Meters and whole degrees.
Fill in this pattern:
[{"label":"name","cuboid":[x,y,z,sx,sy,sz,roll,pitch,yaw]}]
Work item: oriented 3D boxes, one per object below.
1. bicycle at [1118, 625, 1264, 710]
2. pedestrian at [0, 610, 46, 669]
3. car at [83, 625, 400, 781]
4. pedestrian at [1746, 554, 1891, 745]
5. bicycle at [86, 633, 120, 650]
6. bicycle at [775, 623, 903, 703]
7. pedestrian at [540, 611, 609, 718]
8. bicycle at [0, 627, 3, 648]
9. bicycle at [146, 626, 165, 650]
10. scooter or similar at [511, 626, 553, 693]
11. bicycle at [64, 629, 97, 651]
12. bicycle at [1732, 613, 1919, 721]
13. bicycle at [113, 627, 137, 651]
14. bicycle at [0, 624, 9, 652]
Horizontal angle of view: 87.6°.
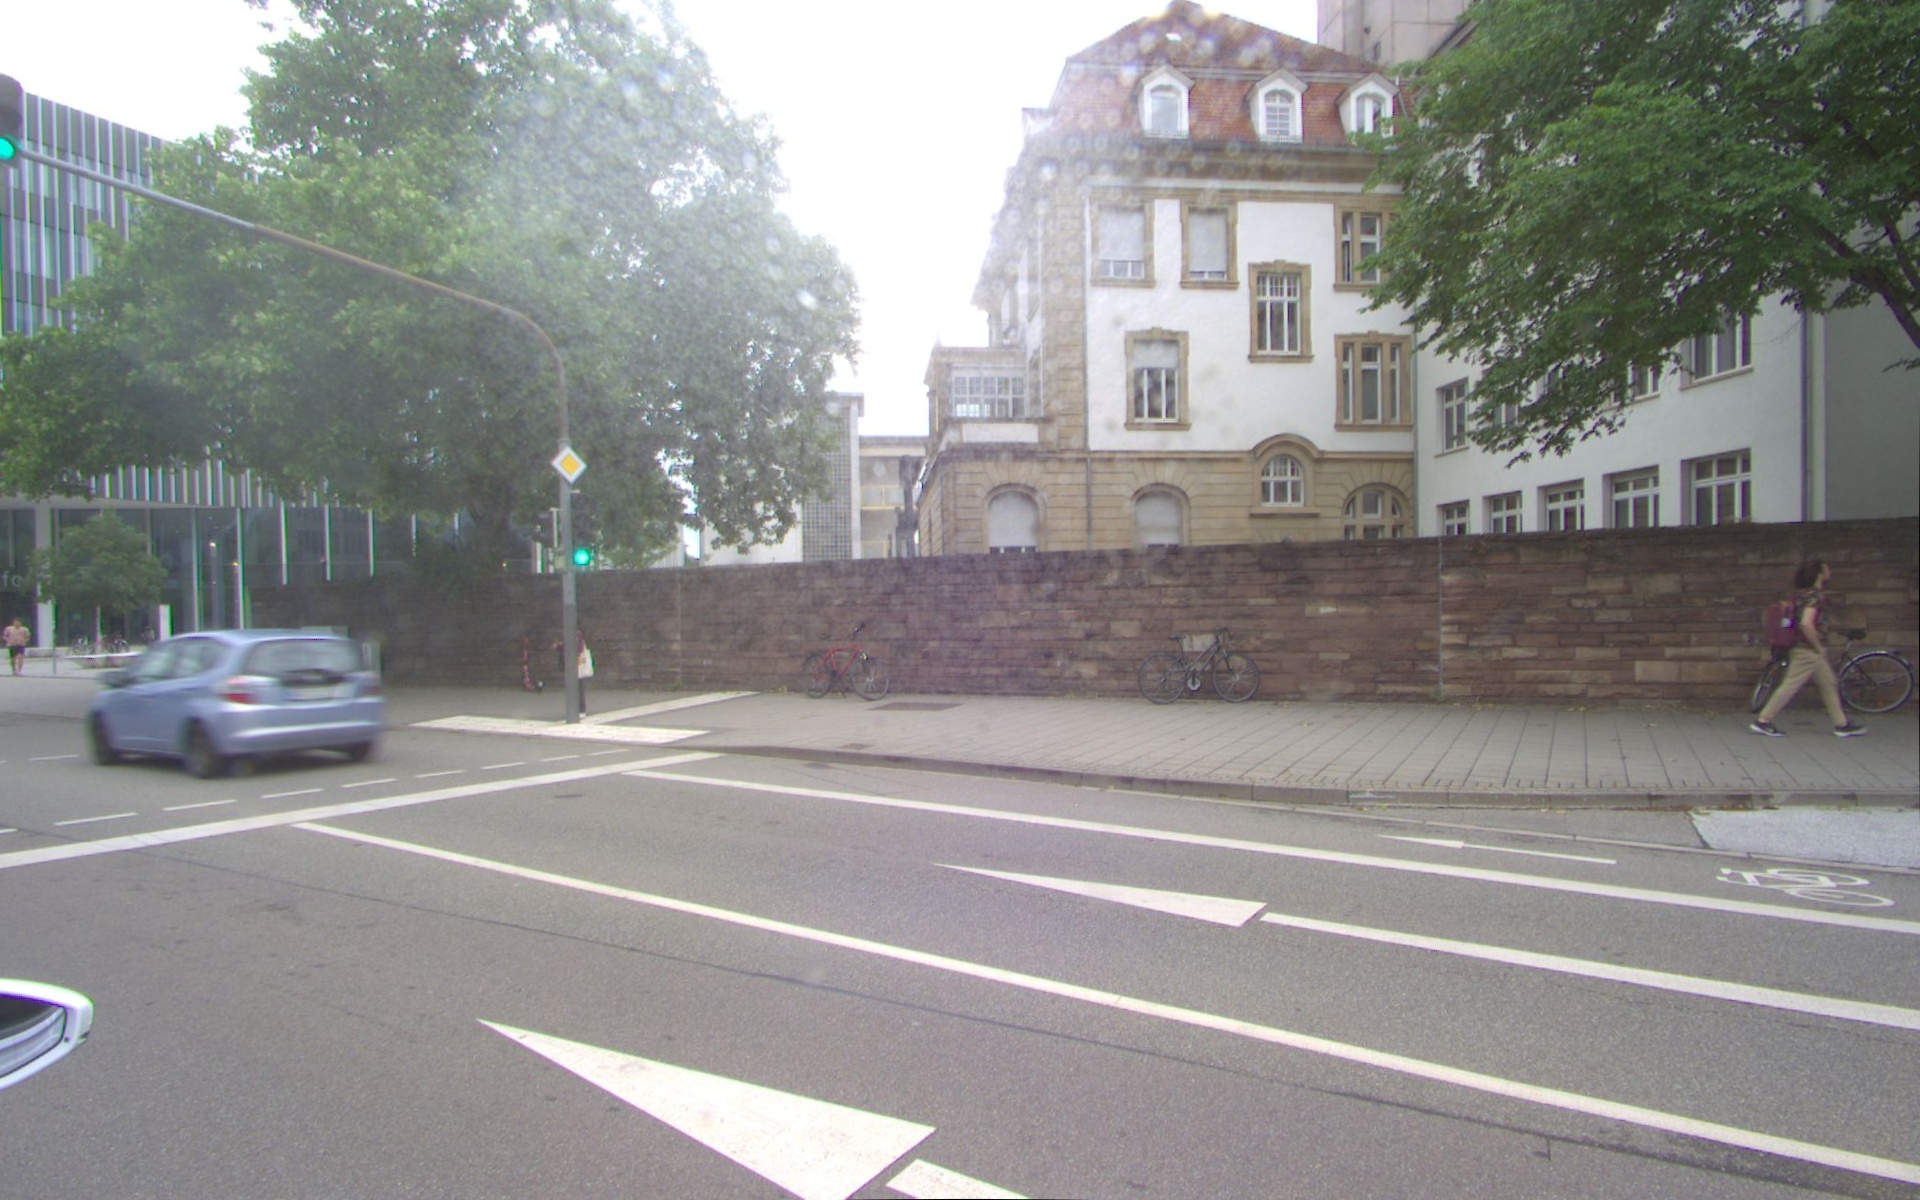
[{"label":"bicycle","cuboid":[3.277,0.933,14.165,1.934,1.088,0.941,-1,2,17]},{"label":"pedestrian","cuboid":[-29.158,1.224,31.158,0.756,1.789,0.845,0,2,32]},{"label":"car","cuboid":[-8.110,1.037,11.246,3.607,1.485,1.664,-1,-1,32]},{"label":"pedestrian","cuboid":[8.683,0.474,10.179,1.018,1.846,0.629,0,2,32]},{"label":"bicycle","cuboid":[-41.606,2.010,48.621,0.510,0.726,1.525,-1,1,-11]},{"label":"bicycle","cuboid":[-1.972,0.990,16.301,1.923,1.190,0.802,-1,3,27]},{"label":"pedestrian","cuboid":[-6.027,0.995,15.670,0.627,1.584,0.658,0,5,32]},{"label":"bicycle","cuboid":[-48.439,1.907,49.936,0.613,1.060,1.696,-2,2,-31]},{"label":"bicycle","cuboid":[-39.229,1.827,48.839,0.616,1.070,1.933,-2,2,-38]},{"label":"scooter or similar","cuboid":[-8.363,1.139,19.546,0.427,1.195,1.693,-3,2,-33]},{"label":"bicycle","cuboid":[-42.437,1.935,48.347,0.686,0.959,1.975,-2,1,-27]},{"label":"bicycle","cuboid":[10.170,0.748,11.490,1.889,1.143,0.849,-1,2,17]},{"label":"bicycle","cuboid":[-40.481,1.866,48.559,0.802,1.070,1.933,-2,2,-38]},{"label":"bicycle","cuboid":[-46.276,1.825,48.204,0.522,1.270,1.652,-3,2,-39]}]
